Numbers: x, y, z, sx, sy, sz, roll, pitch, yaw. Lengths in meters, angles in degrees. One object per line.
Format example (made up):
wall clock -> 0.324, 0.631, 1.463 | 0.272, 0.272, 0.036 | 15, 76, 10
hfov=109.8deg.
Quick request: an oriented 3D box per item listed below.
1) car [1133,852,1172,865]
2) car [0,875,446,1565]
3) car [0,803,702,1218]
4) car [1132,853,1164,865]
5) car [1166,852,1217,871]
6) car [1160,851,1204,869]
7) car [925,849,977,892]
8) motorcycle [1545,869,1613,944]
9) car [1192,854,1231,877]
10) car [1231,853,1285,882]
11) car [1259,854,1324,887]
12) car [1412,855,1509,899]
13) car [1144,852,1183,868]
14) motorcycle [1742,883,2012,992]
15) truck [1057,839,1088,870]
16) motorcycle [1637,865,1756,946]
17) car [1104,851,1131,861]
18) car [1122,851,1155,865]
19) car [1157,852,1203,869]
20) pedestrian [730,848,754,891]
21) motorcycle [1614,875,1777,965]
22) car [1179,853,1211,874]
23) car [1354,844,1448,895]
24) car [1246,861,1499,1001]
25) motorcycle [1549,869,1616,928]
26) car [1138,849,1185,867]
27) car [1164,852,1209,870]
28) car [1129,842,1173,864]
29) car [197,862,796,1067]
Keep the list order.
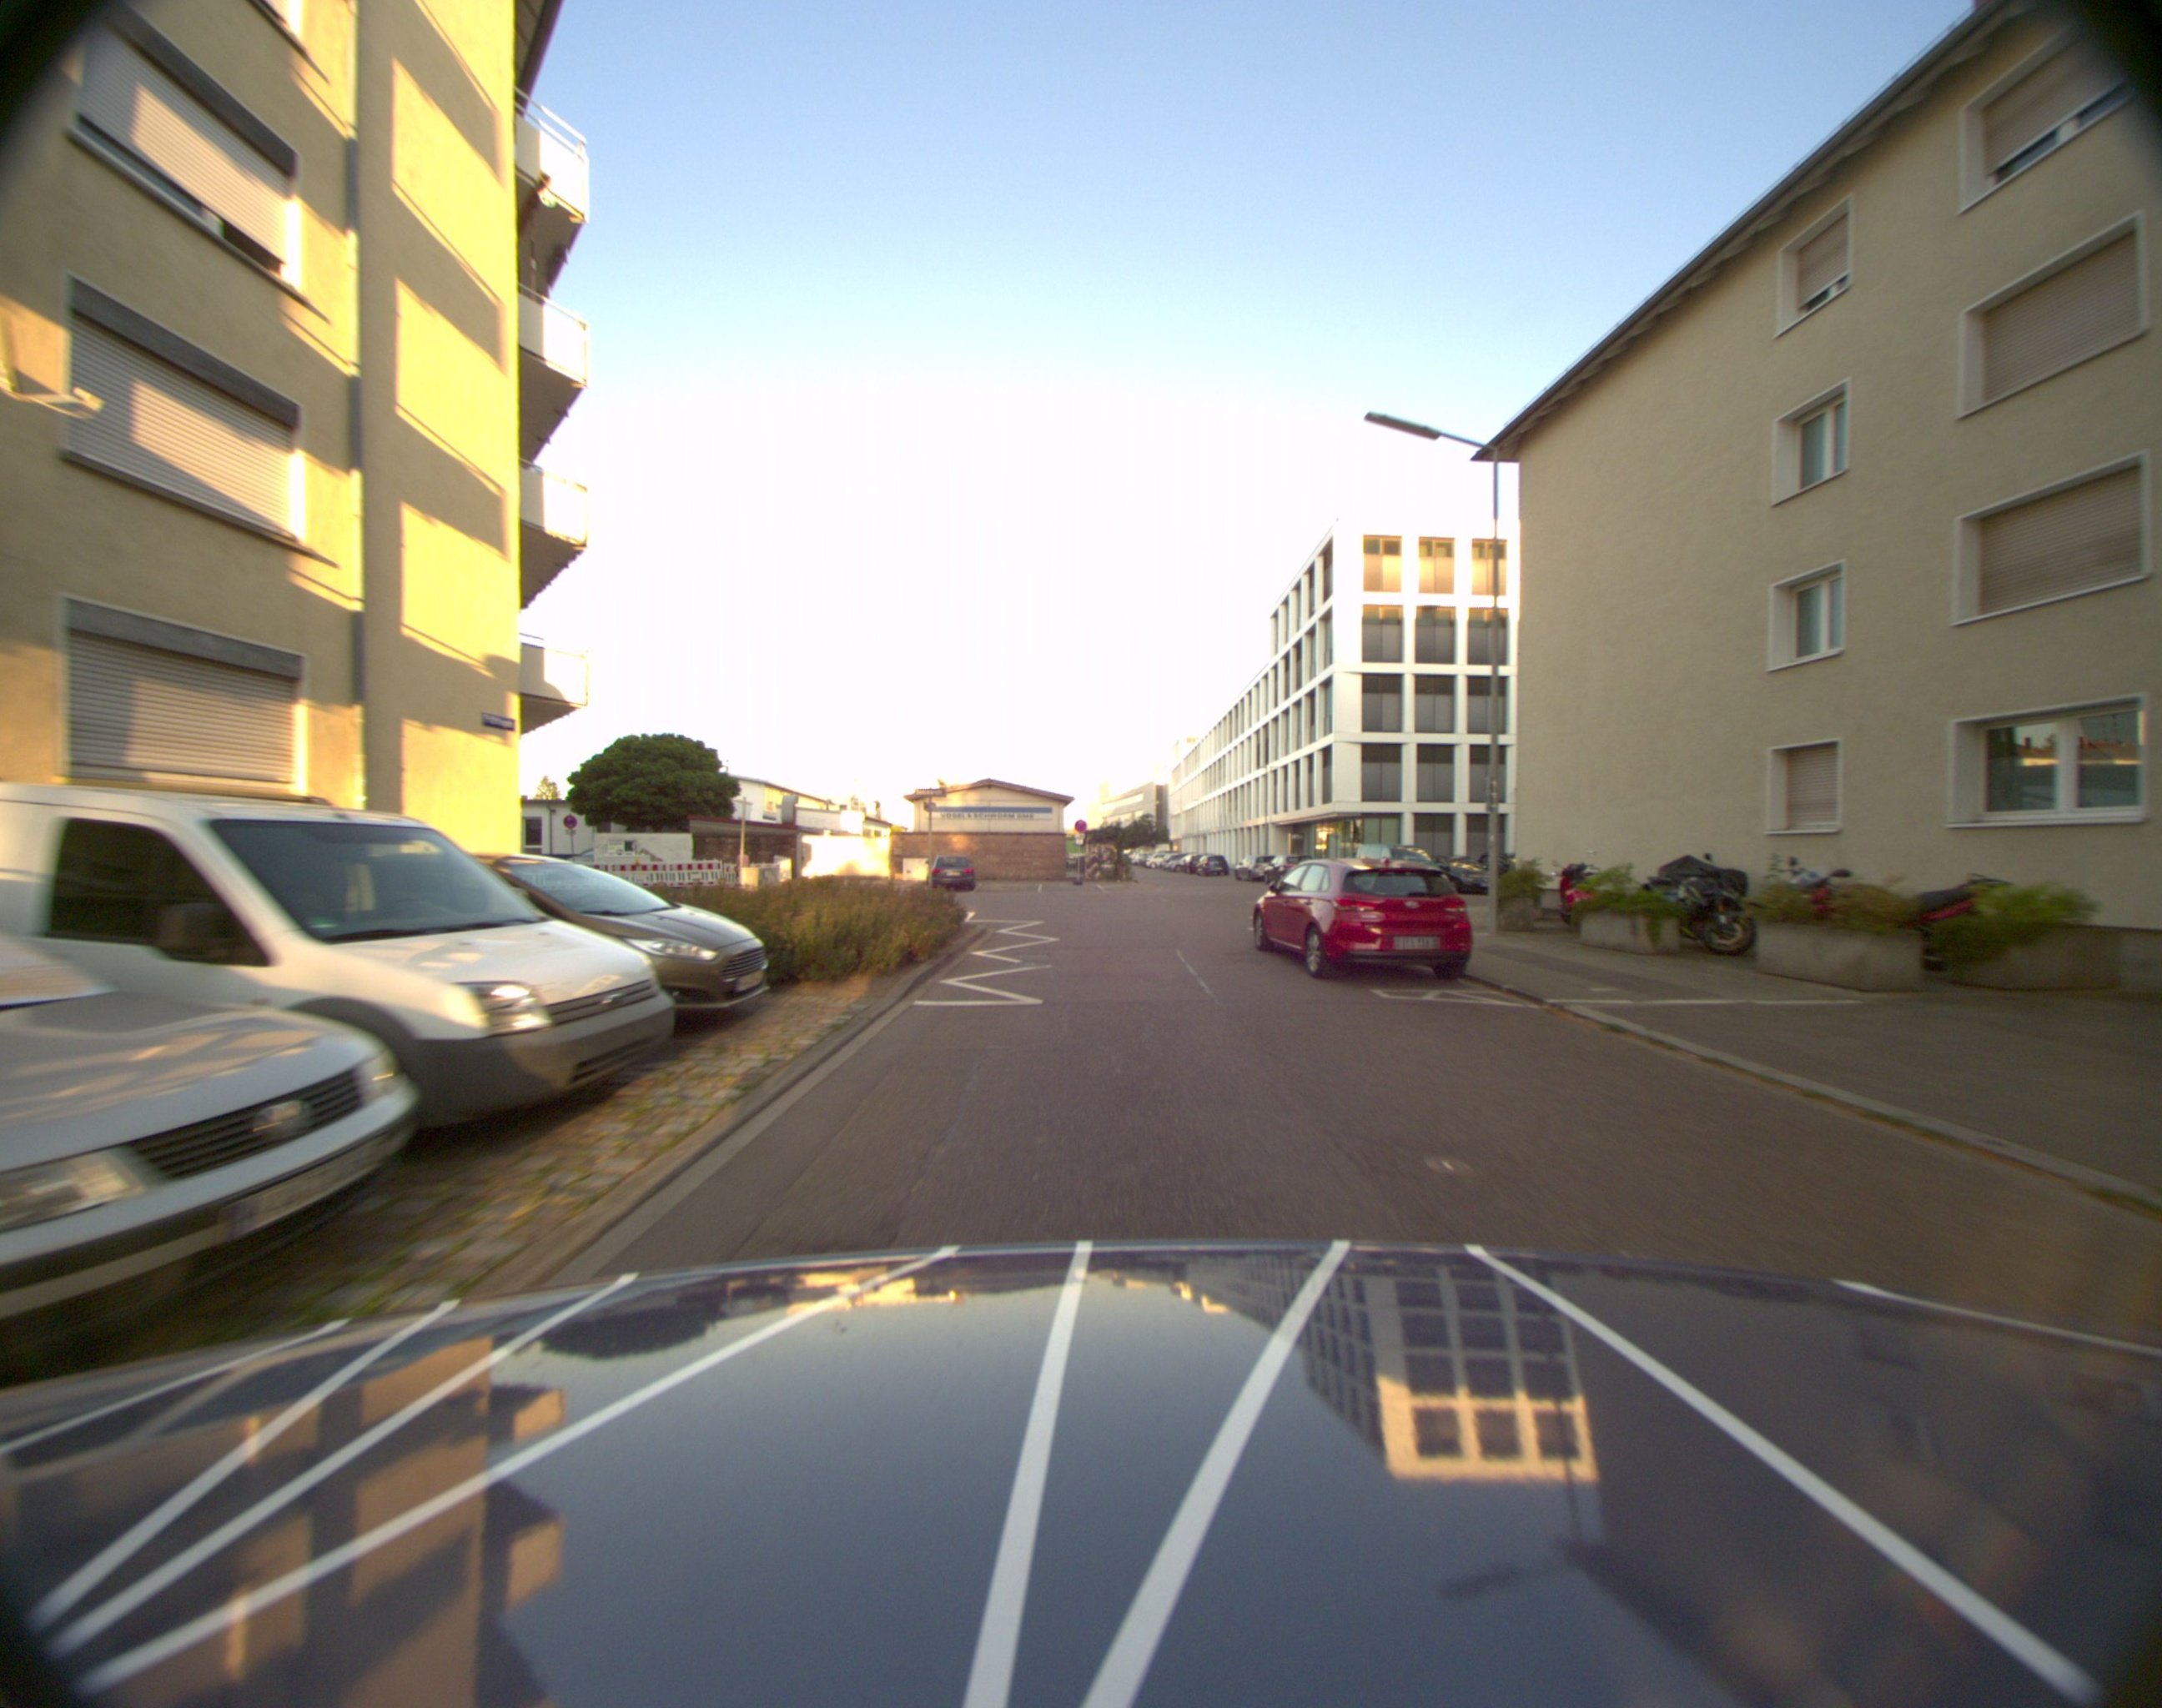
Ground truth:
car -> 8.326, 0.550, 88.689 | 4.318, 1.486, 1.795 | -1, 0, 1
car -> -4.437, 0.835, 2.090 | 3.965, 1.513, 1.706 | 1, 1, 1
car -> -4.731, 0.683, 4.301 | 4.290, 1.850, 1.741 | 0, 1, 1
car -> 8.028, 0.604, 91.415 | 3.717, 1.486, 1.707 | -1, 0, -1
car -> 9.106, 0.609, 62.623 | 3.936, 1.502, 1.687 | -1, 0, 0
car -> 8.974, 0.509, 67.638 | 3.664, 1.502, 1.687 | -1, 0, 0
car -> -5.455, 0.606, 31.463 | 1.833, 1.522, 4.721 | 0, 2, -13
motorcycle -> 8.585, 0.858, 13.172 | 0.689, 1.154, 2.037 | 1, 1, 25
car -> 9.004, 0.740, 52.698 | 1.652, 1.430, 4.183 | -3, 0, -3
car -> 9.947, 0.710, 43.019 | 1.715, 1.470, 4.182 | -3, 0, -5
car -> 10.232, 0.759, 37.244 | 1.784, 1.470, 4.329 | -1, 0, -2
car -> 15.934, 0.921, 32.178 | 1.784, 1.541, 4.328 | 0, 2, -2
car -> 8.130, 0.565, 75.057 | 3.675, 1.502, 1.696 | -1, 0, 3
motorcycle -> 8.819, 0.905, 8.505 | 2.127, 1.099, 0.561 | 0, 1, 12
truck -> -0.687, 0.072, 58.011 | 2.103, 2.187, 5.710 | 1, -1, -3
motorcycle -> 10.686, 0.838, 13.297 | 0.724, 1.257, 2.083 | 0, 1, 11
car -> 7.286, 0.409, 150.743 | 5.084, 1.870, 1.888 | -1, 0, -7
car -> 7.573, 0.479, 101.050 | 4.120, 1.806, 1.815 | -1, 0, -5
car -> 9.101, 0.613, 70.124 | 3.974, 1.502, 1.796 | -1, 0, 1
pedestrian -> -13.176, 0.604, 29.530 | 0.787, 1.655, 0.628 | 1, -1, -28
motorcycle -> 8.491, 0.863, 10.634 | 0.683, 1.073, 2.034 | 0, 0, 2
car -> 8.745, 0.689, 58.672 | 1.652, 1.430, 4.201 | -3, 0, -1
car -> 13.462, 0.590, 32.305 | 1.803, 1.968, 4.687 | 0, 1, -3
car -> 3.651, 0.867, 10.398 | 1.850, 1.465, 4.077 | 1, 0, -1
motorcycle -> 10.259, 0.879, 15.609 | 0.724, 1.073, 2.084 | 1, 1, 22
car -> 8.210, 0.422, 77.410 | 4.629, 1.696, 2.005 | -1, 0, 3
car -> 9.051, 0.604, 65.285 | 3.664, 1.502, 1.687 | -1, 0, 0
car -> 8.782, -0.122, 95.922 | 5.394, 2.617, 2.078 | -1, 0, 0
car -> -4.760, 0.840, 6.617 | 3.882, 1.483, 1.741 | 0, 1, 1
